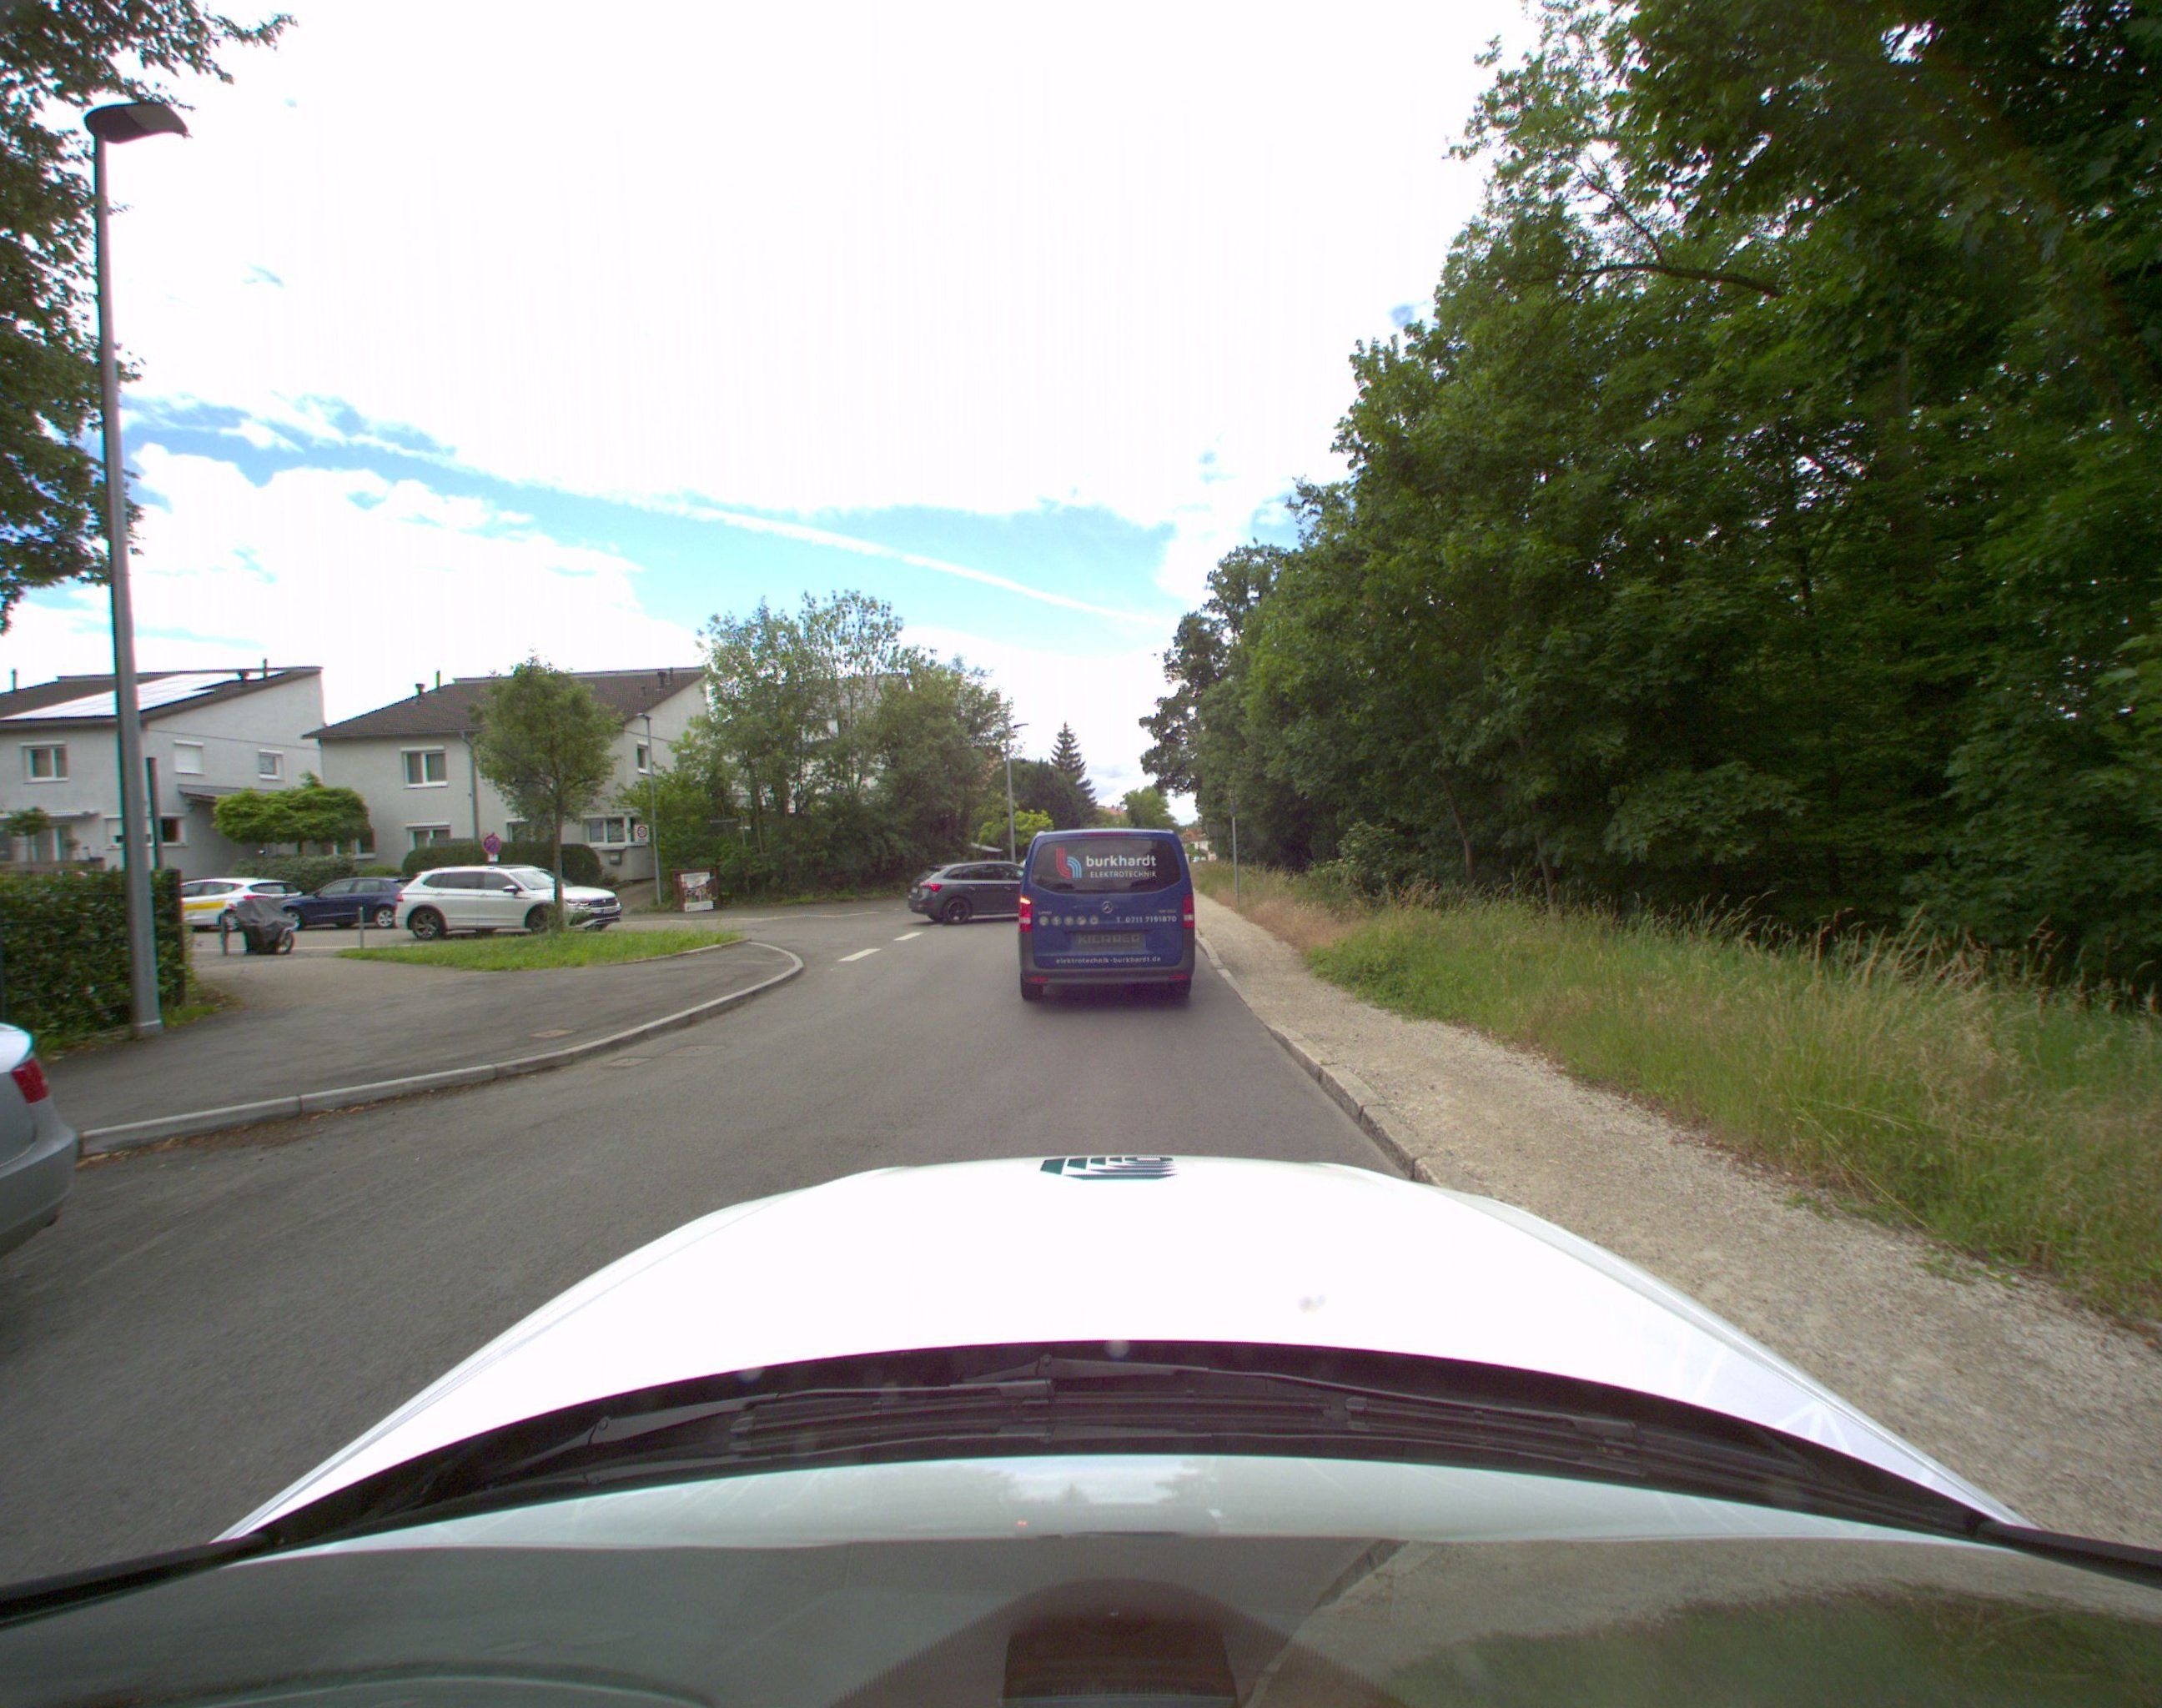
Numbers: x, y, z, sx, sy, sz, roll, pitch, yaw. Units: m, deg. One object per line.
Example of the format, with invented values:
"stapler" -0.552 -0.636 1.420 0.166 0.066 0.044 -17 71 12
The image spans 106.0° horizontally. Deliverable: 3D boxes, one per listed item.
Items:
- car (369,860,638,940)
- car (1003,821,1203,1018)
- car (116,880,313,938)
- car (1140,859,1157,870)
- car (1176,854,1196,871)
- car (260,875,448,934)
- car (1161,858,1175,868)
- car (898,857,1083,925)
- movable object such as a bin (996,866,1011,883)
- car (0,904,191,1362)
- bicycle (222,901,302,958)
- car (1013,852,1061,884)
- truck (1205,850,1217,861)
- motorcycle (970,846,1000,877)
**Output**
"car" -13.438 1.045 19.163 4.914 1.670 2.039 -1 -1 3
"car" 0.186 0.626 10.248 1.931 1.880 4.528 -1 0 -1
"car" -23.954 1.488 22.594 3.771 1.412 1.530 -1 0 0
"car" 8.880 1.402 106.894 1.738 1.404 4.012 -1 0 11
"car" 13.808 1.030 106.473 2.192 2.063 6.152 -2 0 10
"car" -19.875 1.344 22.380 3.532 1.412 1.670 -1 0 -3
"car" 13.402 1.353 125.623 1.738 1.404 4.012 -1 0 11
"car" -2.222 0.843 19.915 4.183 1.447 1.727 -1 0 -22
"movable object such as a bin" -4.179 1.087 43.881 0.587 0.909 0.703 -1 -1 11
"car" -4.314 0.898 0.822 1.824 1.374 4.448 -1 0 2
"bicycle" -16.436 1.476 16.326 2.551 1.001 0.657 -2 0 34
"car" -2.074 0.656 39.357 1.697 1.468 4.081 -1 0 5
"truck" 34.510 0.452 215.320 2.745 2.794 9.296 -2 0 11
"motorcycle" -4.907 0.382 41.841 0.805 1.485 2.902 -1 0 7
